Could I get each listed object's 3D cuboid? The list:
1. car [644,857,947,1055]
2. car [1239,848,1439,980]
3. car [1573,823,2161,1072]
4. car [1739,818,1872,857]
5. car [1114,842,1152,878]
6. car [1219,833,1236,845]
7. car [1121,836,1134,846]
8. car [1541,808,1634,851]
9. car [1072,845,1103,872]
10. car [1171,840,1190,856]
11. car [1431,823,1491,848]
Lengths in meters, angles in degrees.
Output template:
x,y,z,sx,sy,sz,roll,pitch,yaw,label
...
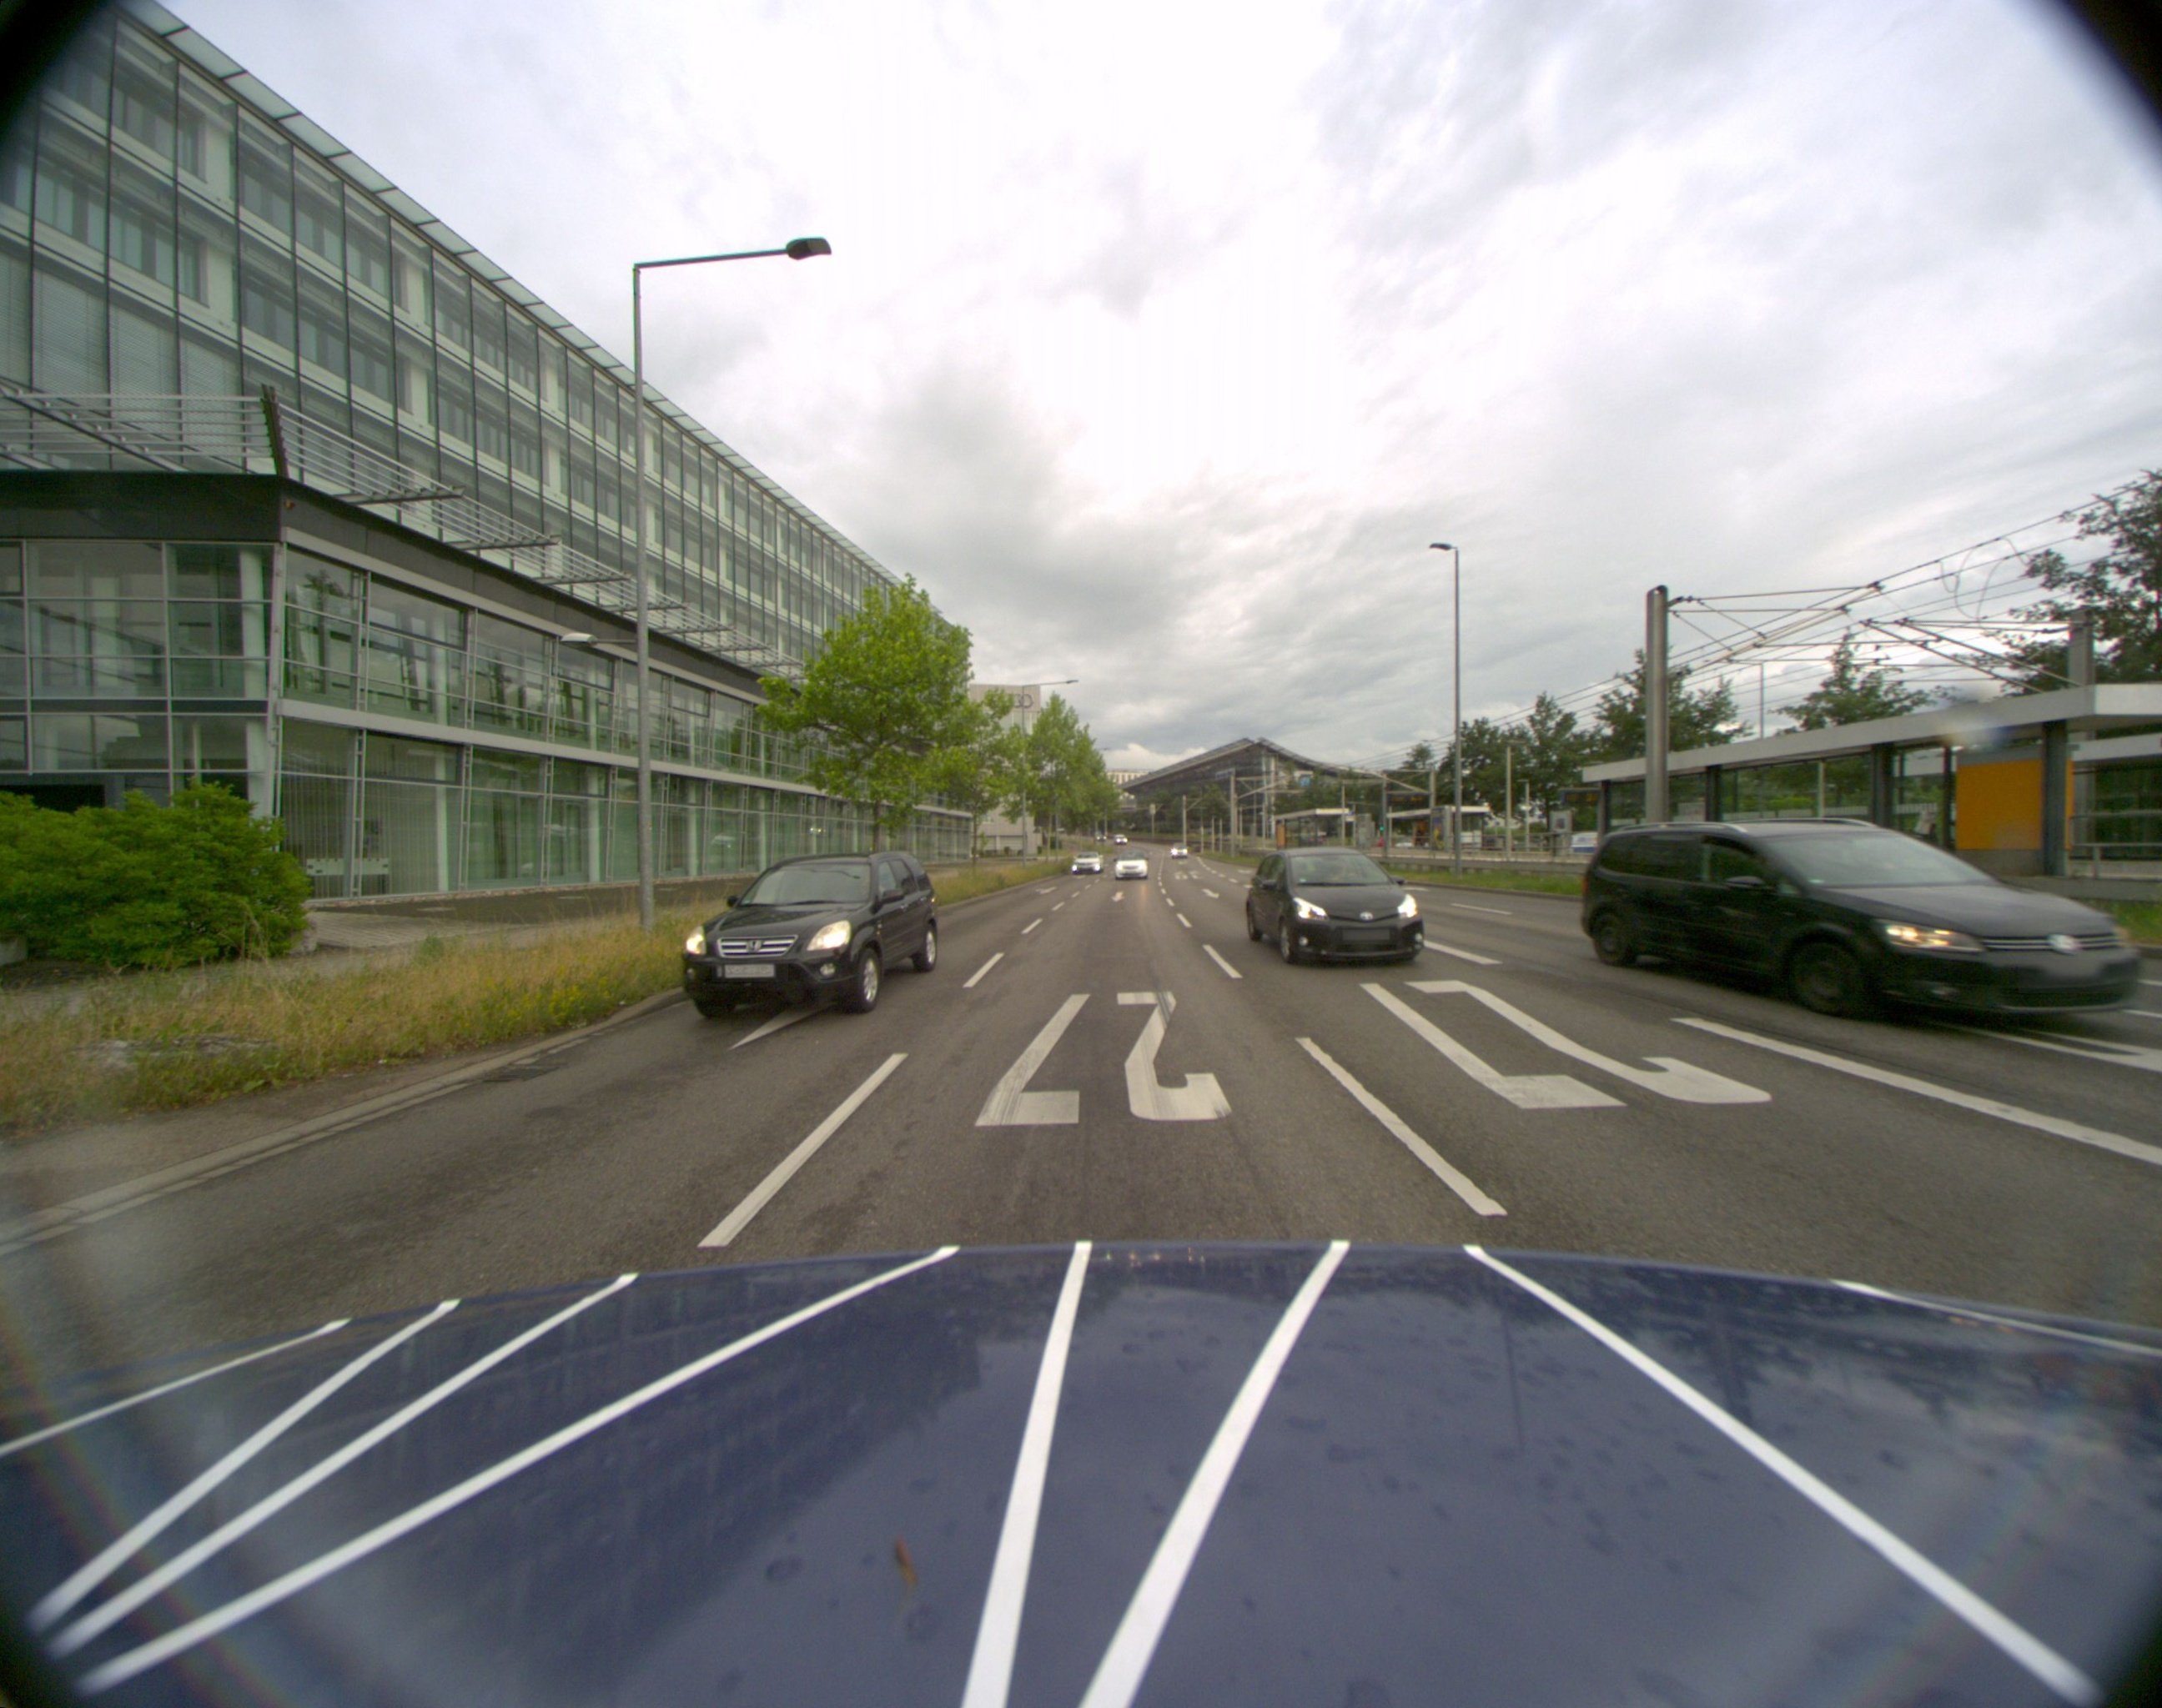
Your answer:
x,y,z,sx,sy,sz,roll,pitch,yaw,label
-2.954,0.929,9.008,1.770,1.620,4.324,-3,1,2,car
3.455,0.723,10.953,1.697,1.514,3.905,-2,0,3,car
6.816,0.582,7.122,1.731,1.583,4.192,-3,1,2,car
35.475,-0.812,37.415,2.110,1.690,4.664,-3,2,1,car
2.745,0.306,40.957,1.805,1.713,4.000,-3,0,1,car
24.598,-2.543,127.710,1.999,1.837,3.998,-3,2,-2,car
8.460,-2.364,138.212,1.829,1.701,4.152,-3,2,-1,car
28.881,-1.381,43.558,1.998,2.202,5.142,-3,2,2,car
0.470,0.285,51.556,1.998,1.669,3.821,-2,2,1,car
10.023,-0.627,76.995,1.739,1.470,4.001,-2,1,6,car
29.083,-1.428,58.338,1.999,1.721,5.028,-3,2,-1,car
